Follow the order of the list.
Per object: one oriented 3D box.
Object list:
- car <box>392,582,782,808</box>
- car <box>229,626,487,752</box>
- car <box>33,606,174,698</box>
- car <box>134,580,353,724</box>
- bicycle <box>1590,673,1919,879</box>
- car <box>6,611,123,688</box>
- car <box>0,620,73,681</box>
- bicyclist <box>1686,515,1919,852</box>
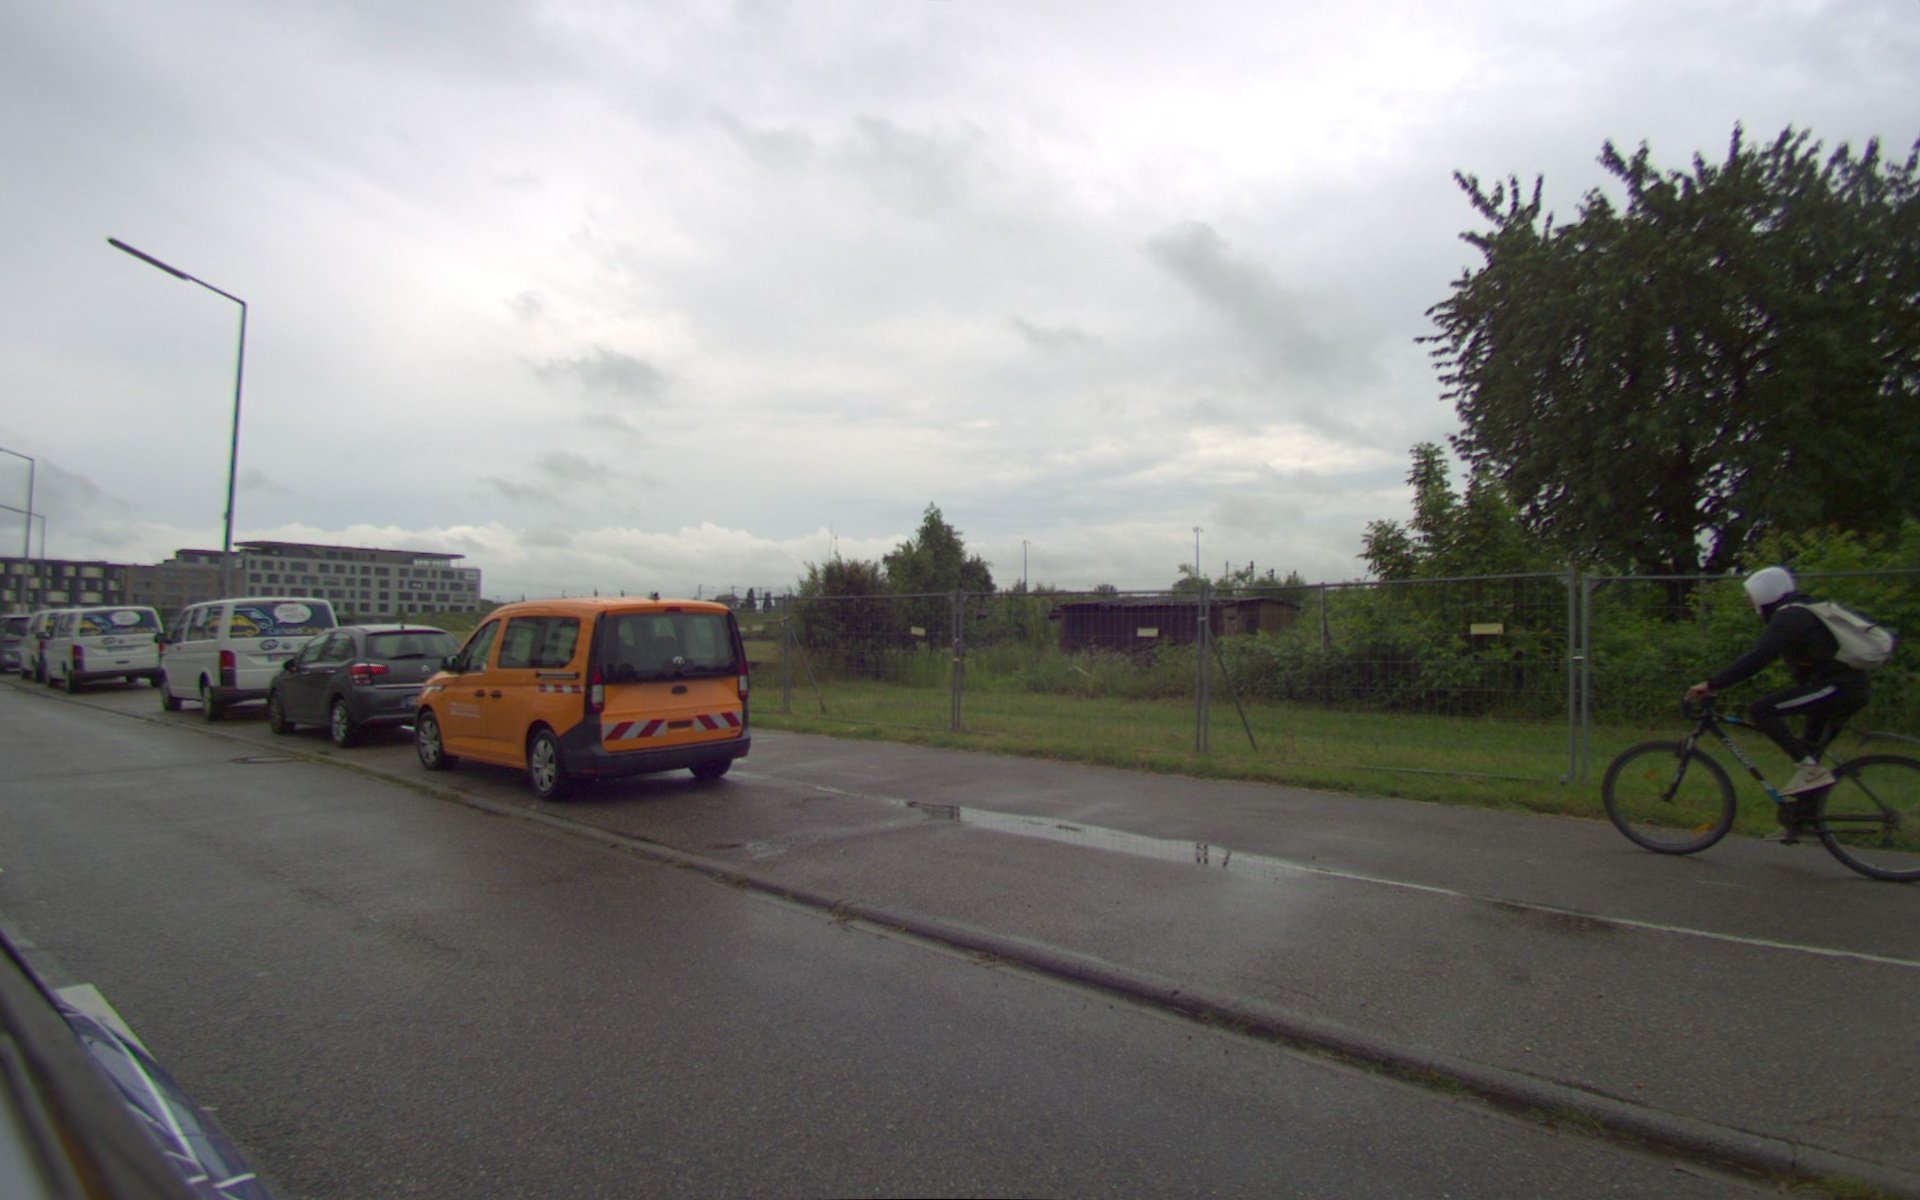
[{"bbox_3d":[-3.896,0.811,10.187,4.331,1.781,1.919,-1,-2,43],"label":"car"},{"bbox_3d":[-8.645,1.124,14.339,4.889,1.513,1.666,-1,-2,41],"label":"car"},{"bbox_3d":[-21.359,1.229,25.164,5.272,2.074,1.939,-2,-2,41],"label":"car"},{"bbox_3d":[-13.073,0.889,18.303,5.554,2.253,1.922,-2,-3,41],"label":"car"},{"bbox_3d":[5.114,1.009,6.092,2.143,1.050,0.709,-2,-2,41],"label":"bicycle"},{"bbox_3d":[-25.963,1.394,29.263,5.255,2.029,1.875,-2,-3,41],"label":"car"},{"bbox_3d":[-31.439,1.631,33.899,4.992,1.916,1.935,-1,-2,41],"label":"car"},{"bbox_3d":[5.078,0.470,6.132,1.008,1.843,0.691,-2,-2,41],"label":"bicyclist"}]
